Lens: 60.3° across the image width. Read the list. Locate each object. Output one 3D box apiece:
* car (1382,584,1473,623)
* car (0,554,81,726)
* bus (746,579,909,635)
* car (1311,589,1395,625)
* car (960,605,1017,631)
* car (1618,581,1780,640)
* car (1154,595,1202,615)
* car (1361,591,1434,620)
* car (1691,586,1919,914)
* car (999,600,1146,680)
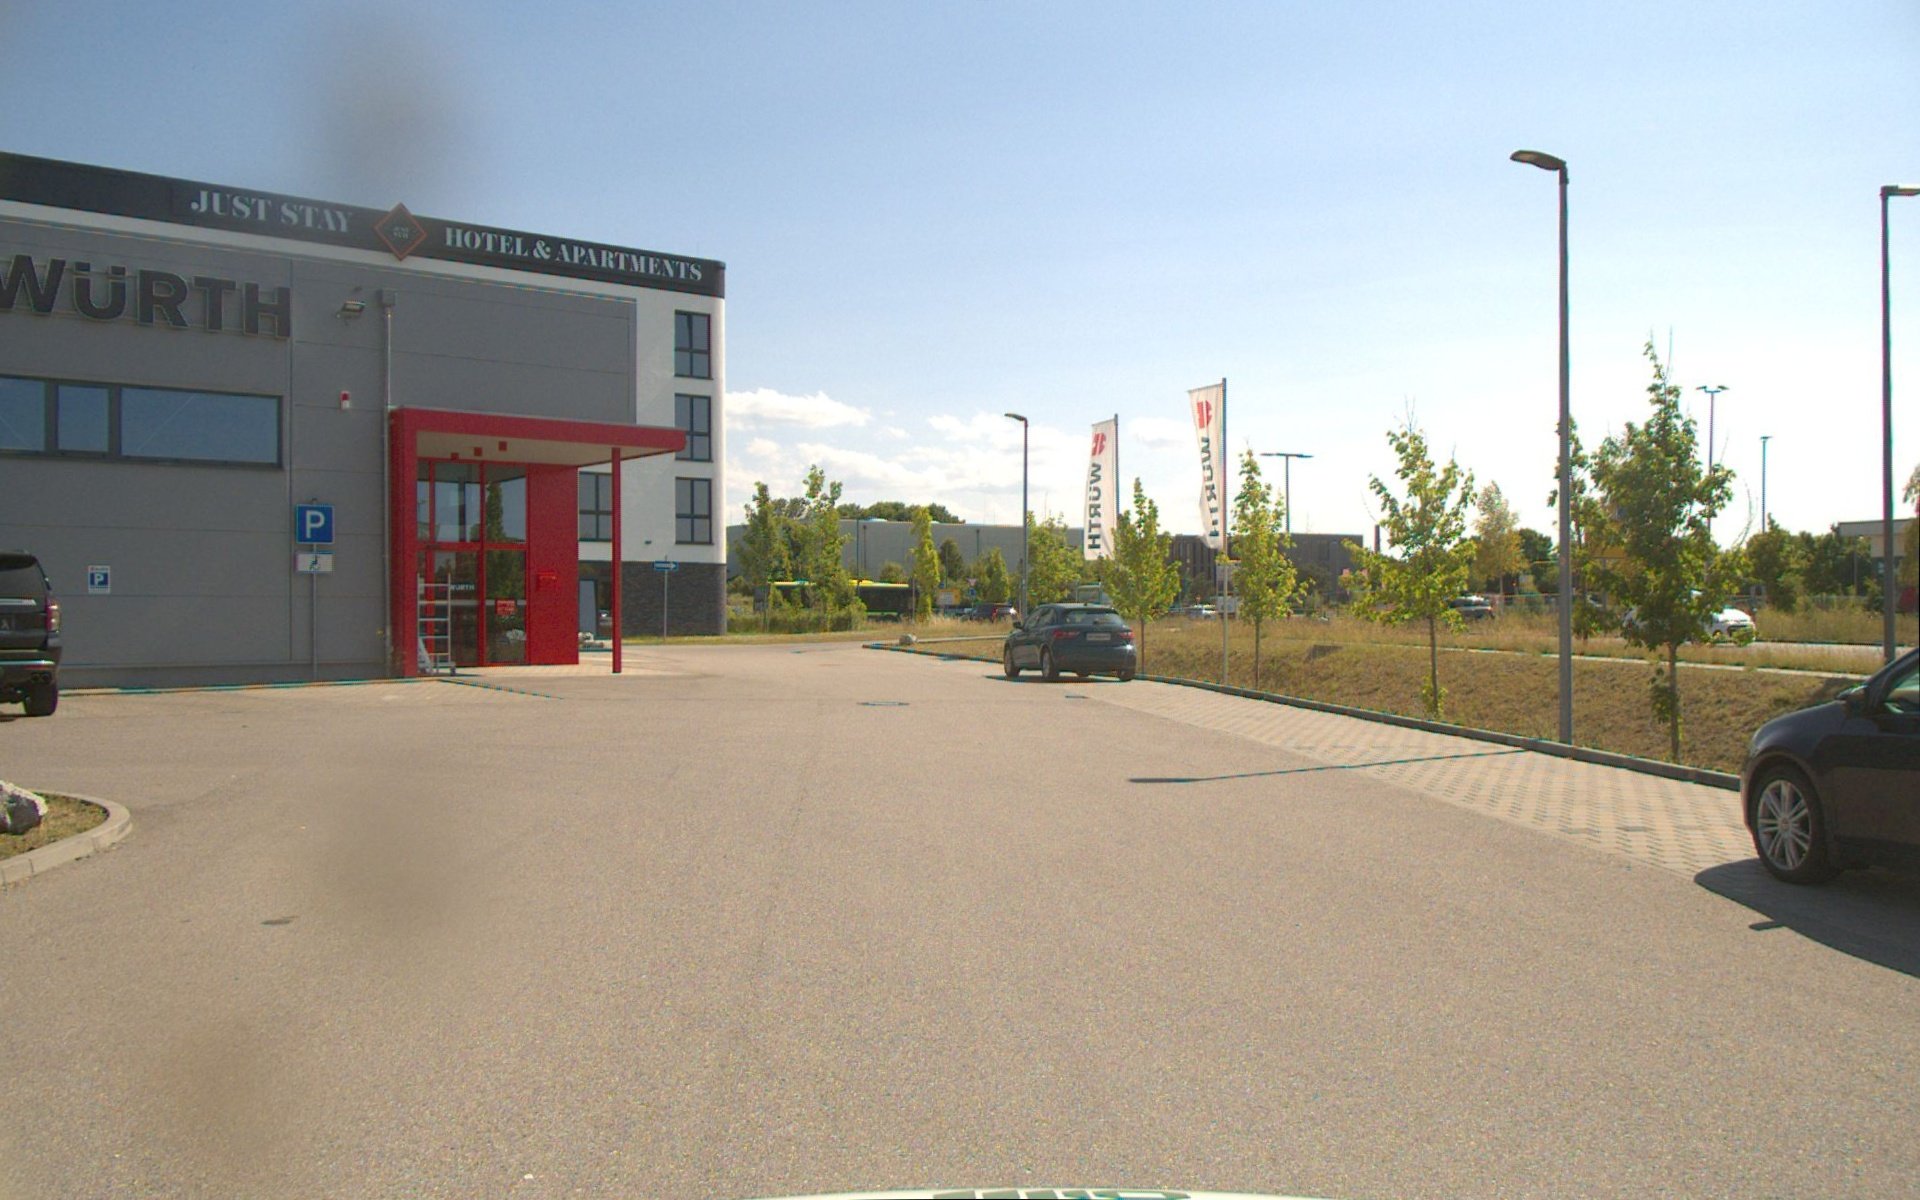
[{"bbox_3d":[19.897,0.140,70.392,3.614,1.625,1.698,0,0,-29],"label":"car"},{"bbox_3d":[-12.344,0.430,20.045,2.058,1.913,4.808,0,1,-40],"label":"car"},{"bbox_3d":[-8.847,0.428,111.738,11.107,3.619,2.547,0,0,-33],"label":"bus"},{"bbox_3d":[18.114,0.308,76.172,3.614,1.625,1.698,0,0,-29],"label":"car"},{"bbox_3d":[1.645,1.013,95.475,1.633,1.410,3.470,0,1,-35],"label":"car"},{"bbox_3d":[20.015,0.252,44.955,1.844,1.509,3.978,0,1,-19],"label":"car"},{"bbox_3d":[18.710,0.441,142.128,3.915,1.687,1.882,0,1,-37],"label":"car"},{"bbox_3d":[22.329,0.254,84.296,3.670,1.420,1.571,-1,0,-33],"label":"car"},{"bbox_3d":[5.404,0.690,7.631,1.801,1.502,4.113,-2,0,-8],"label":"car"},{"bbox_3d":[2.081,0.726,31.701,1.670,1.431,3.881,0,0,-15],"label":"car"}]
